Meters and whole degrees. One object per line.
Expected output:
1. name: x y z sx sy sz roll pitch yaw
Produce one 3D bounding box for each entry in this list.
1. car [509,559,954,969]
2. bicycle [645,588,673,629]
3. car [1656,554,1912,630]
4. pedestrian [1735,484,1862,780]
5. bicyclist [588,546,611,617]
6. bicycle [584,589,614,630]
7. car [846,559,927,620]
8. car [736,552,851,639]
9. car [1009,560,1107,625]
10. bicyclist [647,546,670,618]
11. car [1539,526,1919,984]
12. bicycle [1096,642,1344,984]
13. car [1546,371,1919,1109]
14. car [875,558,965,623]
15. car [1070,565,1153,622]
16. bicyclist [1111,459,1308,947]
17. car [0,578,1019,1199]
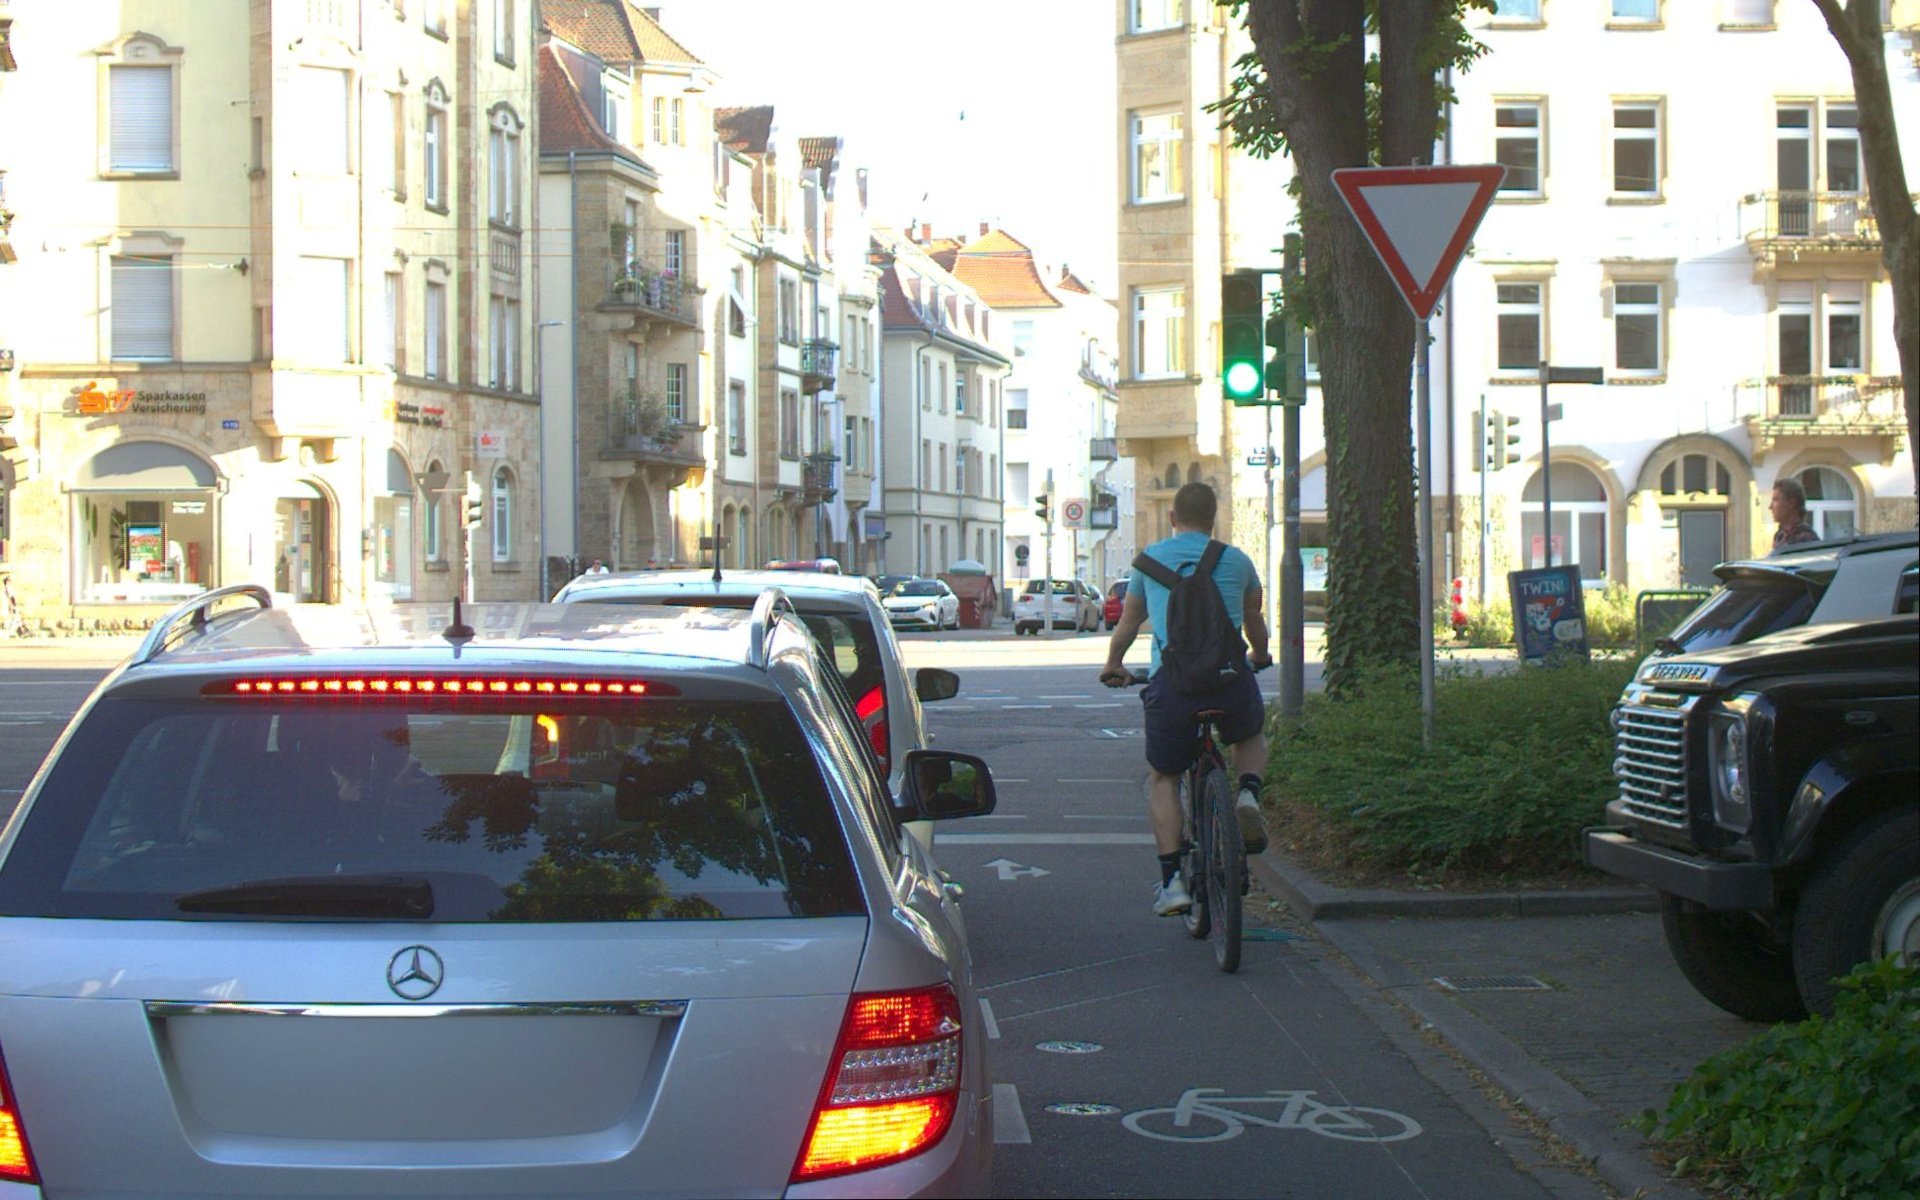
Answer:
1. car: -0.857 0.549 13.688 1.533 1.386 3.600 0 1 -2
2. bicycle: -6.430 0.179 73.452 0.568 0.832 1.566 0 1 -4
3. car: 11.886 -0.125 49.695 3.364 1.065 1.380 0 1 -1
4. pedestrian: 5.275 0.192 21.646 0.631 1.838 0.575 0 1 -4
5. bicyclist: -7.685 -0.391 73.292 0.466 1.509 0.655 0 1 -4
6. bicycle: -7.685 0.191 73.141 0.568 0.832 1.566 0 1 -4
7. car: -2.179 -0.290 102.389 1.651 1.777 3.861 0 0 11
8. car: -3.834 -0.128 79.621 1.938 1.952 4.149 0 1 8
9. car: 2.476 -0.202 85.884 1.722 1.473 3.998 -2 1 12
10. bicyclist: -6.434 -0.387 73.449 0.466 1.516 0.694 0 1 -4
11. car: 4.158 0.497 13.090 3.480 1.580 1.711 -2 1 -6
12. bicycle: 0.940 0.751 12.929 0.742 1.114 2.013 1 1 -1
13. car: 4.189 0.285 10.171 4.490 1.949 1.793 -2 1 -3
14. car: -1.063 -0.277 93.426 1.687 1.716 3.998 0 1 10
15. car: 4.512 -0.211 102.076 1.722 1.473 3.998 -4 1 12
16. bicyclist: 0.927 0.372 12.946 0.646 1.769 0.831 1 0 -1
17. car: -0.870 0.701 6.457 1.690 1.424 3.493 1 1 -3
